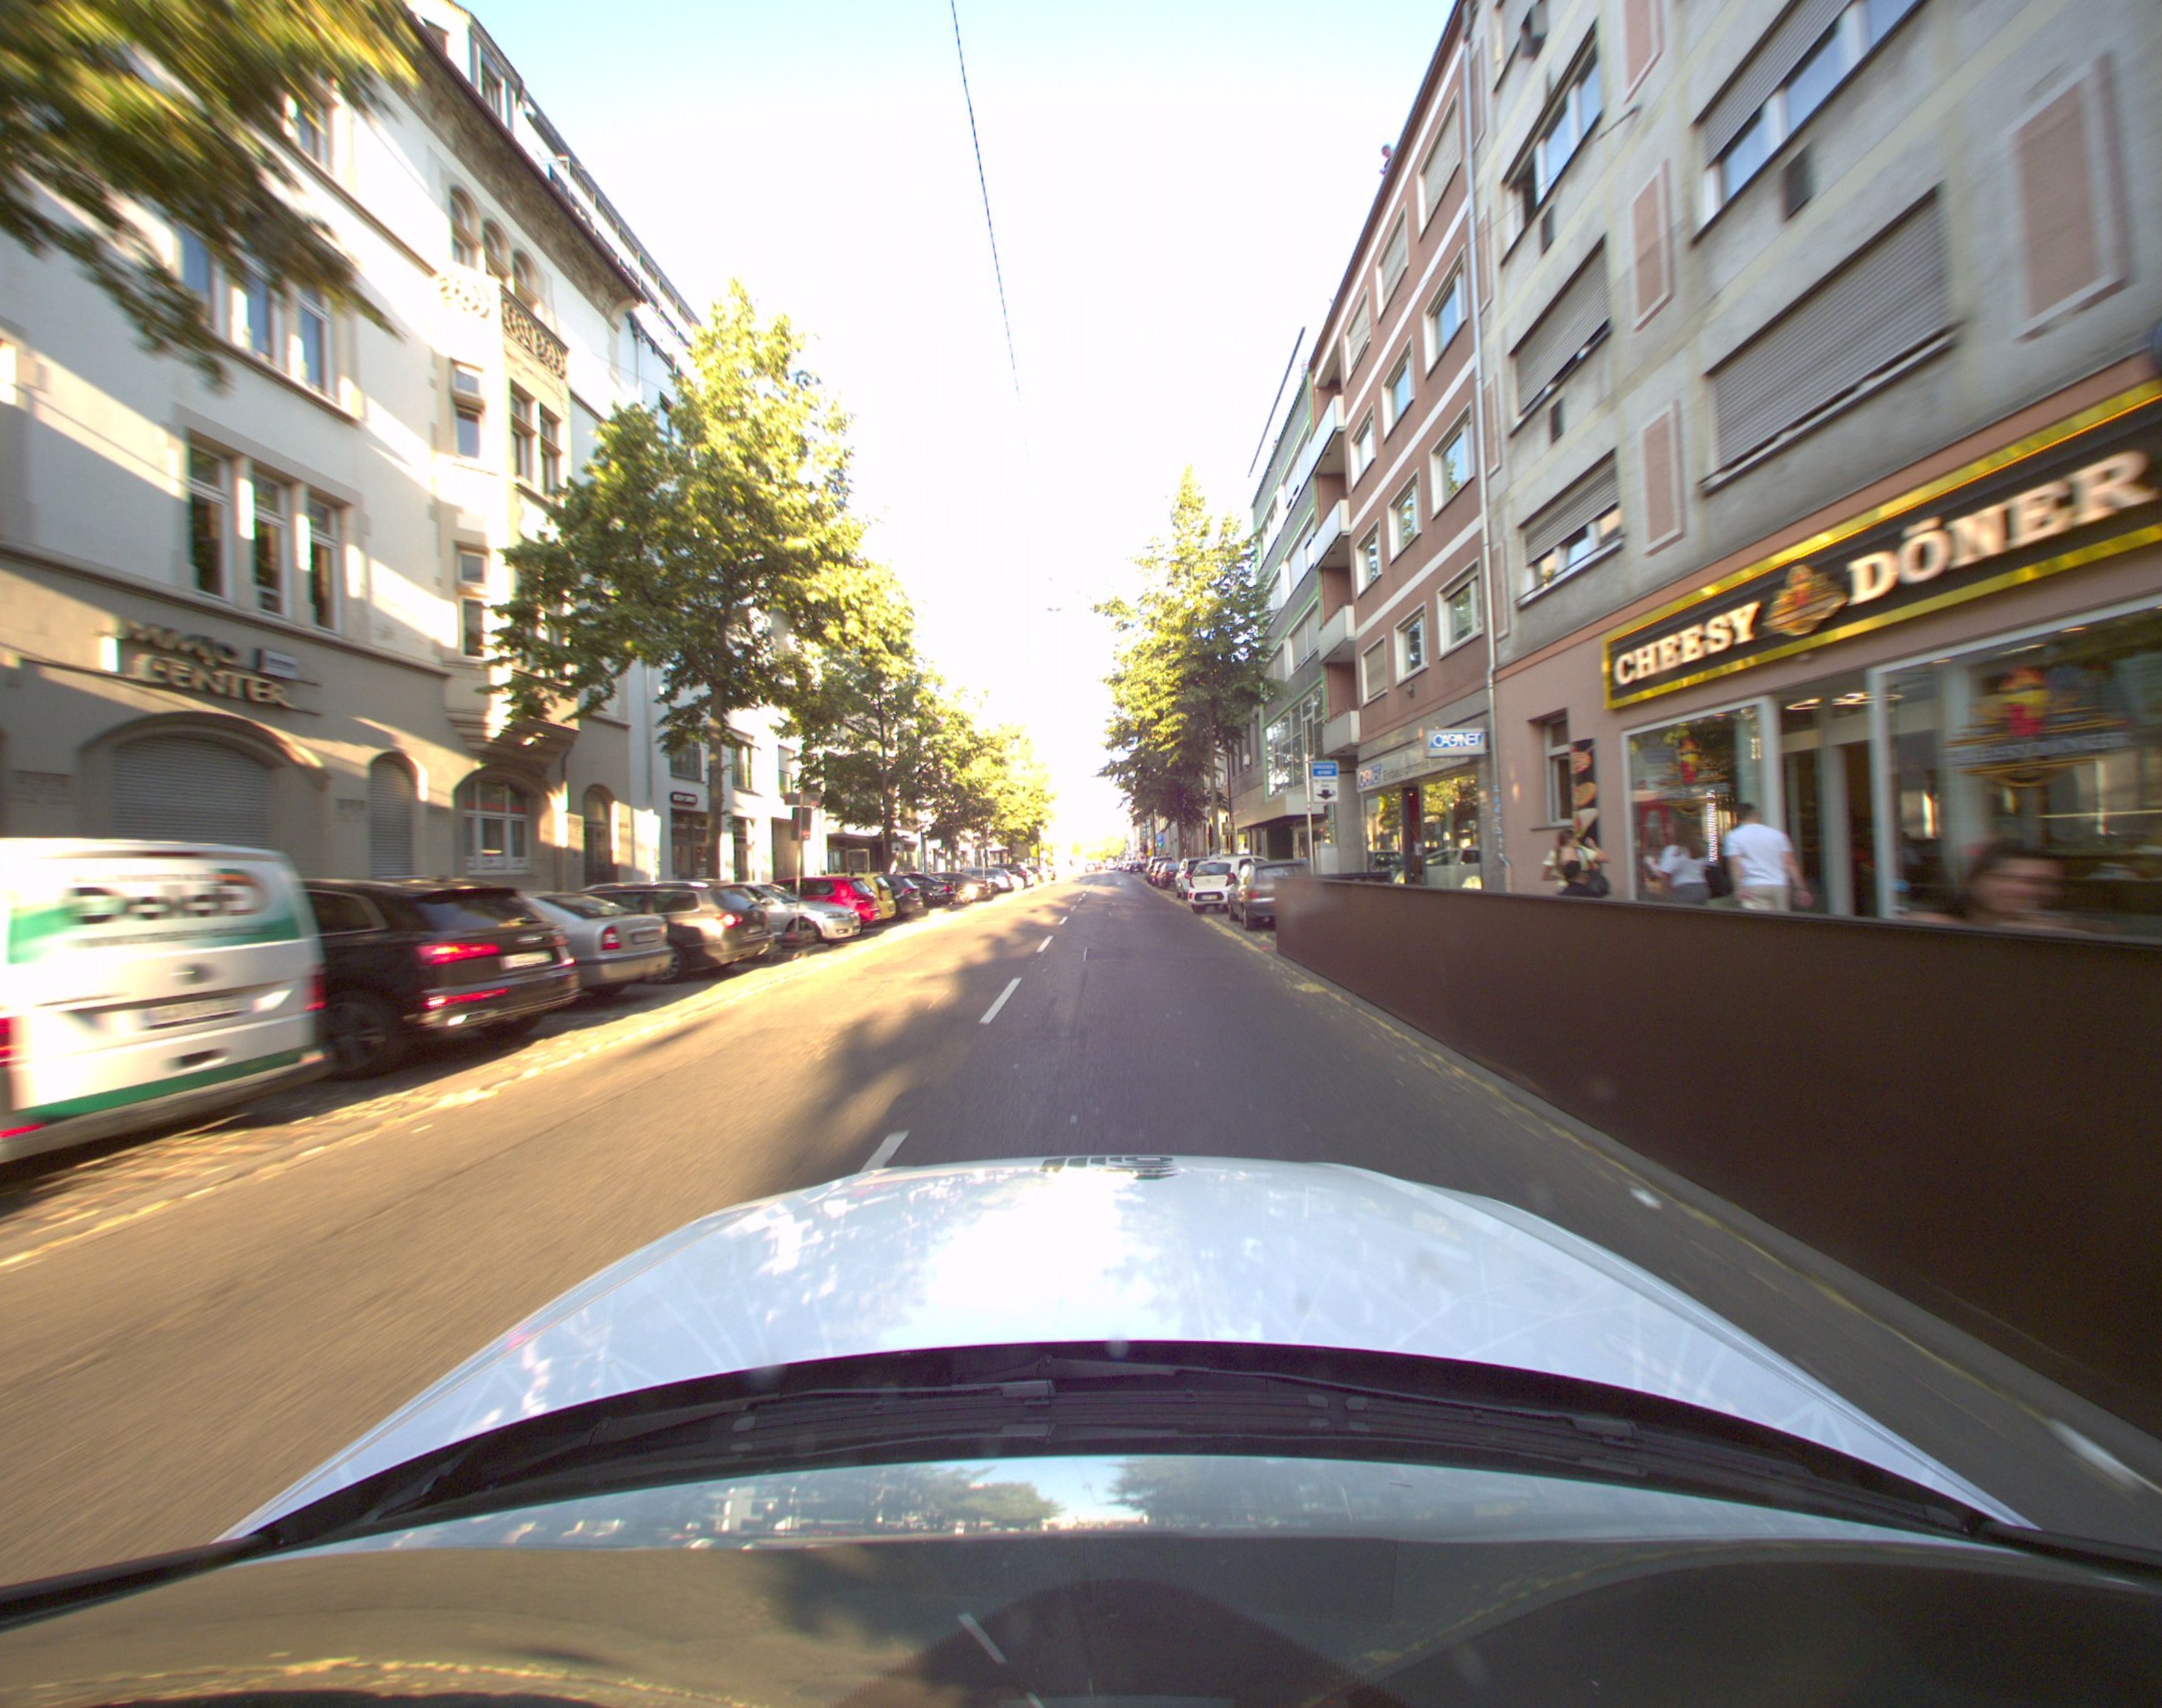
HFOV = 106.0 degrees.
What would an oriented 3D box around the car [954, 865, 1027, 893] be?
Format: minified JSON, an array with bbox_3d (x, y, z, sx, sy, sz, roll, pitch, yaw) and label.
[{"bbox_3d":[-5.635,1.578,51.065,4.287,1.598,1.920,-2,-1,2],"label":"car"}]

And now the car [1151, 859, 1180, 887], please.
[{"bbox_3d":[5.013,1.136,48.581,1.507,1.561,3.516,-2,-1,3],"label":"car"}]

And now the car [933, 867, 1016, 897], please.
[{"bbox_3d":[-6.057,1.574,46.672,4.425,1.523,1.920,-2,-1,2],"label":"car"}]

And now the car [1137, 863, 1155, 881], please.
[{"bbox_3d":[5.850,1.630,73.360,1.507,1.561,3.776,-2,-1,3],"label":"car"}]

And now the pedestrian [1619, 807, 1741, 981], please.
[{"bbox_3d":[6.155,0.397,8.417,0.627,1.680,0.894,-2,-1,10],"label":"pedestrian"}]

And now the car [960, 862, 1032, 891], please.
[{"bbox_3d":[-5.510,1.470,53.168,4.425,1.759,1.920,-2,-1,2],"label":"car"}]

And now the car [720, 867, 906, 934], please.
[{"bbox_3d":[-7.258,1.232,22.349,4.425,1.638,1.860,-2,-1,2],"label":"car"}]

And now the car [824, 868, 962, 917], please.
[{"bbox_3d":[-6.686,1.372,29.283,4.425,1.568,1.920,-2,-1,2],"label":"car"}]

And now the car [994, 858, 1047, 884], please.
[{"bbox_3d":[-5.342,1.513,72.531,4.425,2.199,1.920,-2,-1,2],"label":"car"}]

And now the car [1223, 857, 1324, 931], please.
[{"bbox_3d":[4.153,0.816,18.060,1.536,1.433,3.681,-2,-1,4],"label":"car"}]

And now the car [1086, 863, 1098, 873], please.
[{"bbox_3d":[1.805,2.219,132.066,1.919,1.571,3.305,-2,-1,2],"label":"car"}]

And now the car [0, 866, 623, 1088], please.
[{"bbox_3d":[-7.186,1.033,7.661,4.553,1.698,2.061,-2,-1,2],"label":"car"}]

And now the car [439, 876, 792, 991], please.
[{"bbox_3d":[-7.079,1.182,12.706,4.425,1.506,1.845,-2,-1,2],"label":"car"}]

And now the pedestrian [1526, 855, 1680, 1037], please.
[{"bbox_3d":[4.255,0.714,6.694,0.723,1.378,0.781,-2,-1,2],"label":"pedestrian"}]

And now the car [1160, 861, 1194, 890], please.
[{"bbox_3d":[5.058,1.125,43.286,1.507,1.406,3.839,-2,-1,3],"label":"car"}]

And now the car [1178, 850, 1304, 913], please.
[{"bbox_3d":[4.622,0.739,23.207,1.654,1.588,3.846,-2,-1,44],"label":"car"}]

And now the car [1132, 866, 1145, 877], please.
[{"bbox_3d":[7.219,2.193,102.708,1.507,1.276,3.306,-2,-1,3],"label":"car"}]

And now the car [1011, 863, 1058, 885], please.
[{"bbox_3d":[-4.577,1.952,80.516,4.425,1.959,1.920,-2,-1,2],"label":"car"}]

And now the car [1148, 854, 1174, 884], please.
[{"bbox_3d":[5.356,1.014,54.809,1.507,1.864,4.238,-2,-1,3],"label":"car"}]

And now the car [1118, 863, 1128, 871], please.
[{"bbox_3d":[8.059,2.475,155.201,1.745,1.540,3.306,-3,-1,3],"label":"car"}]

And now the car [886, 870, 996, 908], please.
[{"bbox_3d":[-6.094,1.513,35.793,4.425,1.449,1.920,-2,-1,2],"label":"car"}]

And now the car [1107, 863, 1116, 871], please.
[{"bbox_3d":[6.419,2.728,169.595,1.714,1.475,3.306,-3,-1,3],"label":"car"}]

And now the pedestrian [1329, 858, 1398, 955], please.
[{"bbox_3d":[4.193,0.758,12.151,0.723,1.378,0.781,-2,-1,2],"label":"pedestrian"}]

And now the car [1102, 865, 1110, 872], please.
[{"bbox_3d":[5.577,3.238,183.154,1.563,1.506,3.306,-3,-1,3],"label":"car"}]

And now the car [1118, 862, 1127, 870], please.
[{"bbox_3d":[7.326,2.084,143.725,1.507,1.298,3.306,-2,-1,3],"label":"car"}]

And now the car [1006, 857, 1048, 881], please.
[{"bbox_3d":[-5.961,1.677,90.652,4.425,2.435,1.920,-2,-1,2],"label":"car"}]

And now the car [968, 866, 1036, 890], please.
[{"bbox_3d":[-5.414,1.644,56.285,4.425,1.499,1.920,-2,-1,2],"label":"car"}]

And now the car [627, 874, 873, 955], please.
[{"bbox_3d":[-6.891,1.237,17.274,4.425,1.484,1.810,-2,-1,2],"label":"car"}]

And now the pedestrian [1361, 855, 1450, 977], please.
[{"bbox_3d":[3.875,0.711,9.775,0.723,1.378,0.781,-2,-1,2],"label":"pedestrian"}]

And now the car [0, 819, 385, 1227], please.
[{"bbox_3d":[-7.380,0.892,4.958,4.555,1.962,1.991,-2,-1,1],"label":"car"}]

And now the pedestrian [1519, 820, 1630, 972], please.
[{"bbox_3d":[5.572,0.457,9.251,0.791,1.625,0.915,-2,-1,14],"label":"pedestrian"}]

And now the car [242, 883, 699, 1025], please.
[{"bbox_3d":[-7.466,1.190,10.267,4.425,1.467,1.780,-2,-1,2],"label":"car"}]

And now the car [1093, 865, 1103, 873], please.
[{"bbox_3d":[3.443,3.051,163.186,1.745,1.540,3.306,-3,-1,3],"label":"car"}]

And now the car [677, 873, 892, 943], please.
[{"bbox_3d":[-7.028,1.251,19.584,4.425,1.458,1.860,-2,-1,2],"label":"car"}]

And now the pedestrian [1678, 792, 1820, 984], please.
[{"bbox_3d":[6.676,0.333,8.191,0.693,1.805,0.894,-2,-1,10],"label":"pedestrian"}]

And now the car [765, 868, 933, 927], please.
[{"bbox_3d":[-6.917,1.287,24.572,4.425,1.568,1.920,-2,-1,2],"label":"car"}]

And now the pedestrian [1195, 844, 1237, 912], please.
[{"bbox_3d":[3.936,0.682,23.875,0.916,1.926,1.014,-1,-1,-8],"label":"pedestrian"}]

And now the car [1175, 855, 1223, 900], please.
[{"bbox_3d":[4.468,0.871,31.144,1.507,1.578,3.220,-2,-1,3],"label":"car"}]

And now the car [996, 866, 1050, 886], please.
[{"bbox_3d":[-4.943,1.860,70.196,4.425,1.579,1.920,-2,-1,2],"label":"car"}]

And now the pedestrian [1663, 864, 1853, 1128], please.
[{"bbox_3d":[3.515,0.701,4.266,0.506,1.270,0.530,-2,-1,2],"label":"pedestrian"}]

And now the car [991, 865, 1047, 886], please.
[{"bbox_3d":[-5.096,1.808,67.375,4.425,1.579,1.920,-2,-1,2],"label":"car"}]

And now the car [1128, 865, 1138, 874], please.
[{"bbox_3d":[7.688,2.268,120.943,1.507,1.263,3.306,-2,-1,3],"label":"car"}]
